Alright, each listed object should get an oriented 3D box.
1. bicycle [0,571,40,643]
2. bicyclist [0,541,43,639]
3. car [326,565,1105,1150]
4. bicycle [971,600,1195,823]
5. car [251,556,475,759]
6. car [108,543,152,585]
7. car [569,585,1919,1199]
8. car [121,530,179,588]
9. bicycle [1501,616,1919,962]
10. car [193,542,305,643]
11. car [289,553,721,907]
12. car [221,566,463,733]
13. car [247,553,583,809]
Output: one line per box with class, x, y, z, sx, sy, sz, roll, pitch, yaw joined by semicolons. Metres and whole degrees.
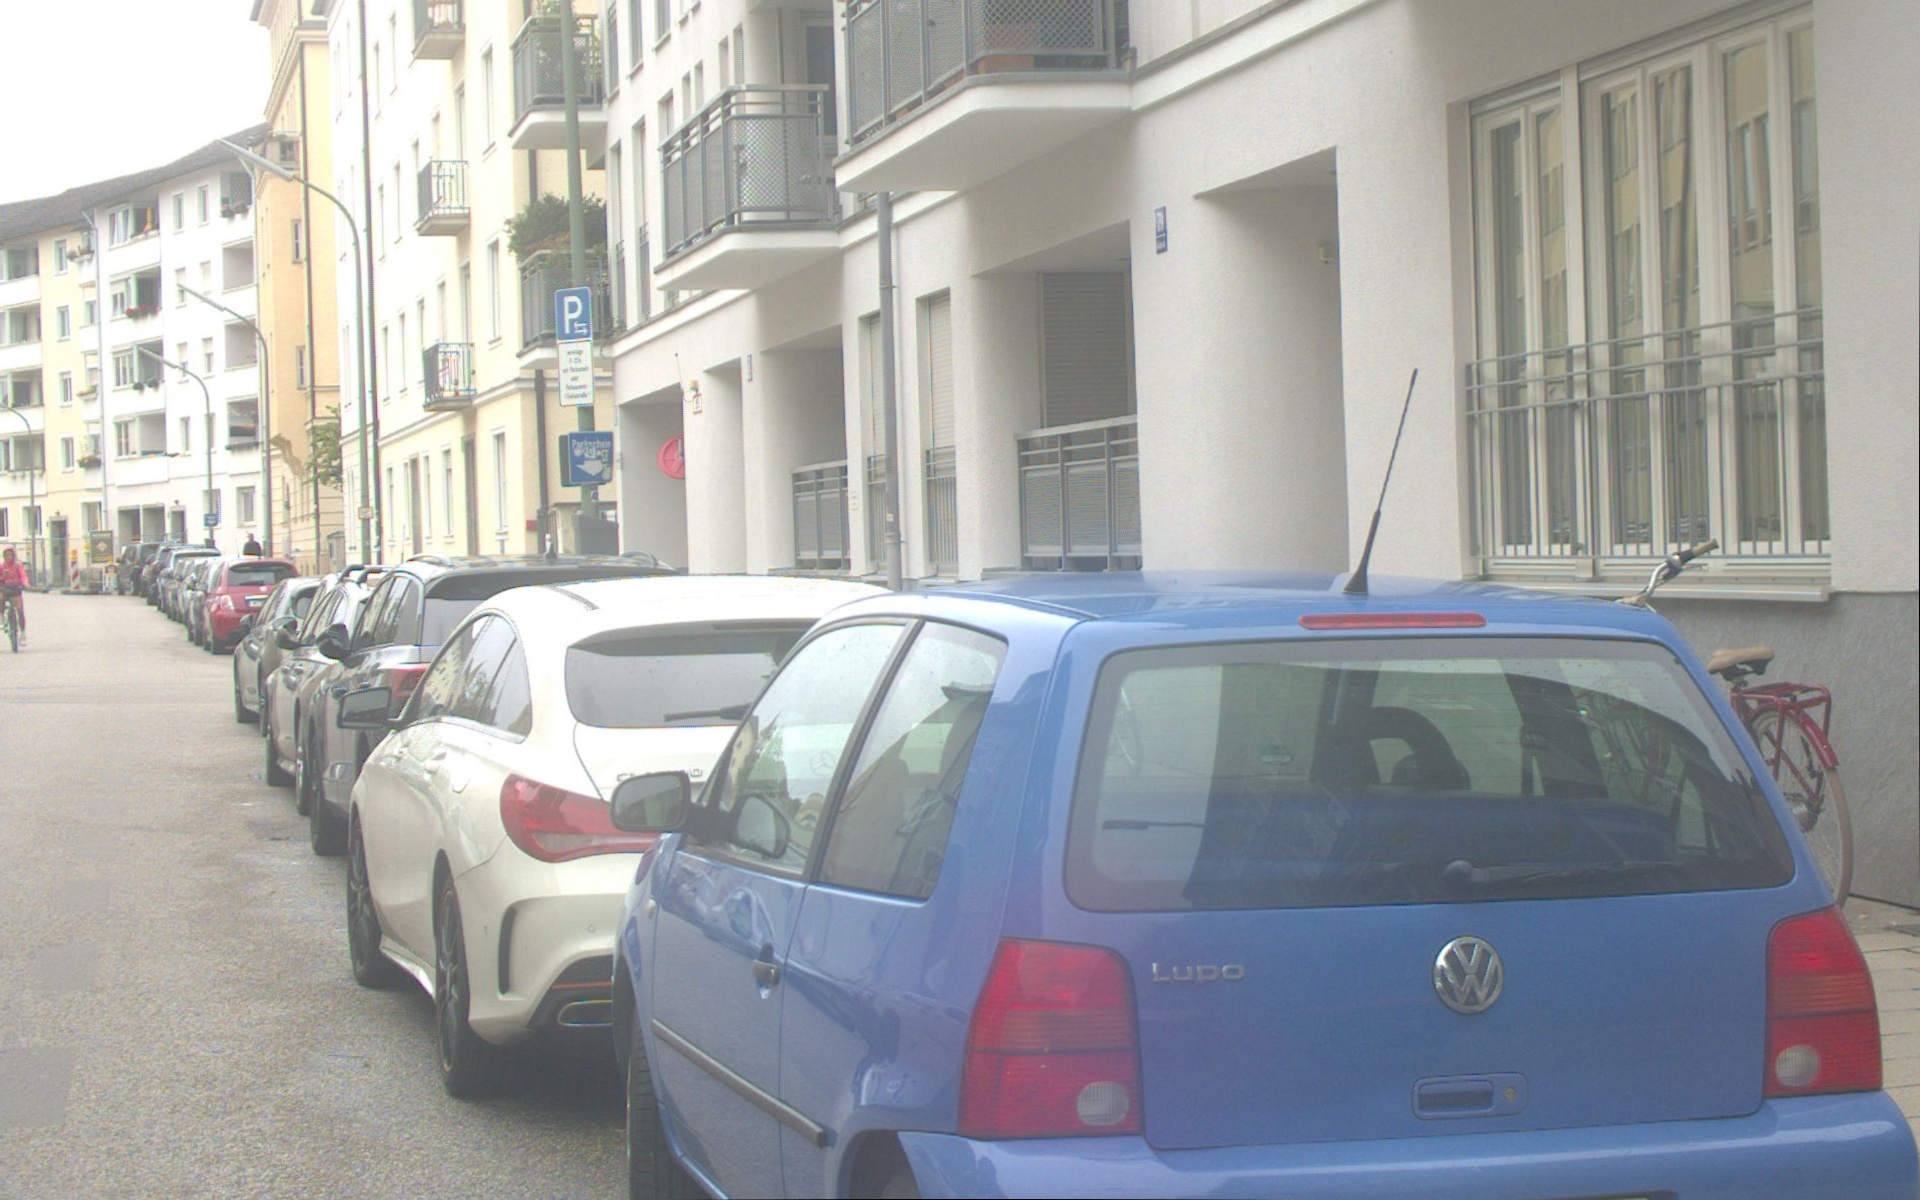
bicycle;-15.480;0.109;56.539;0.504;1.124;1.774;-3;2;-11
bicyclist;-15.516;-0.172;56.516;0.694;1.556;0.967;-3;2;-11
car;-0.971;0.623;10.749;1.657;1.435;4.208;1;1;-15
bicycle;0.677;0.605;19.729;0.627;1.156;2.128;-2;1;-16
car;-4.905;0.412;27.955;1.519;1.525;3.527;0;1;-14
car;-26.472;-1.161;109.604;1.271;1.294;2.798;-1;1;-15
car;0.284;0.684;6.540;1.618;1.407;3.555;0;0;-13
car;-23.313;-1.191;98.869;1.473;1.635;4.002;-1;1;-15
bicycle;2.496;0.586;11.388;0.677;1.024;1.835;-2;0;-14
car;-11.429;-0.150;55.161;1.595;1.503;3.802;-2;1;-13
car;-2.355;0.541;16.959;1.603;1.525;3.985;1;1;-15
car;-5.804;0.417;31.955;1.763;1.403;4.080;-2;1;-16
car;-3.737;0.461;22.949;1.733;1.525;4.623;1;1;-15
